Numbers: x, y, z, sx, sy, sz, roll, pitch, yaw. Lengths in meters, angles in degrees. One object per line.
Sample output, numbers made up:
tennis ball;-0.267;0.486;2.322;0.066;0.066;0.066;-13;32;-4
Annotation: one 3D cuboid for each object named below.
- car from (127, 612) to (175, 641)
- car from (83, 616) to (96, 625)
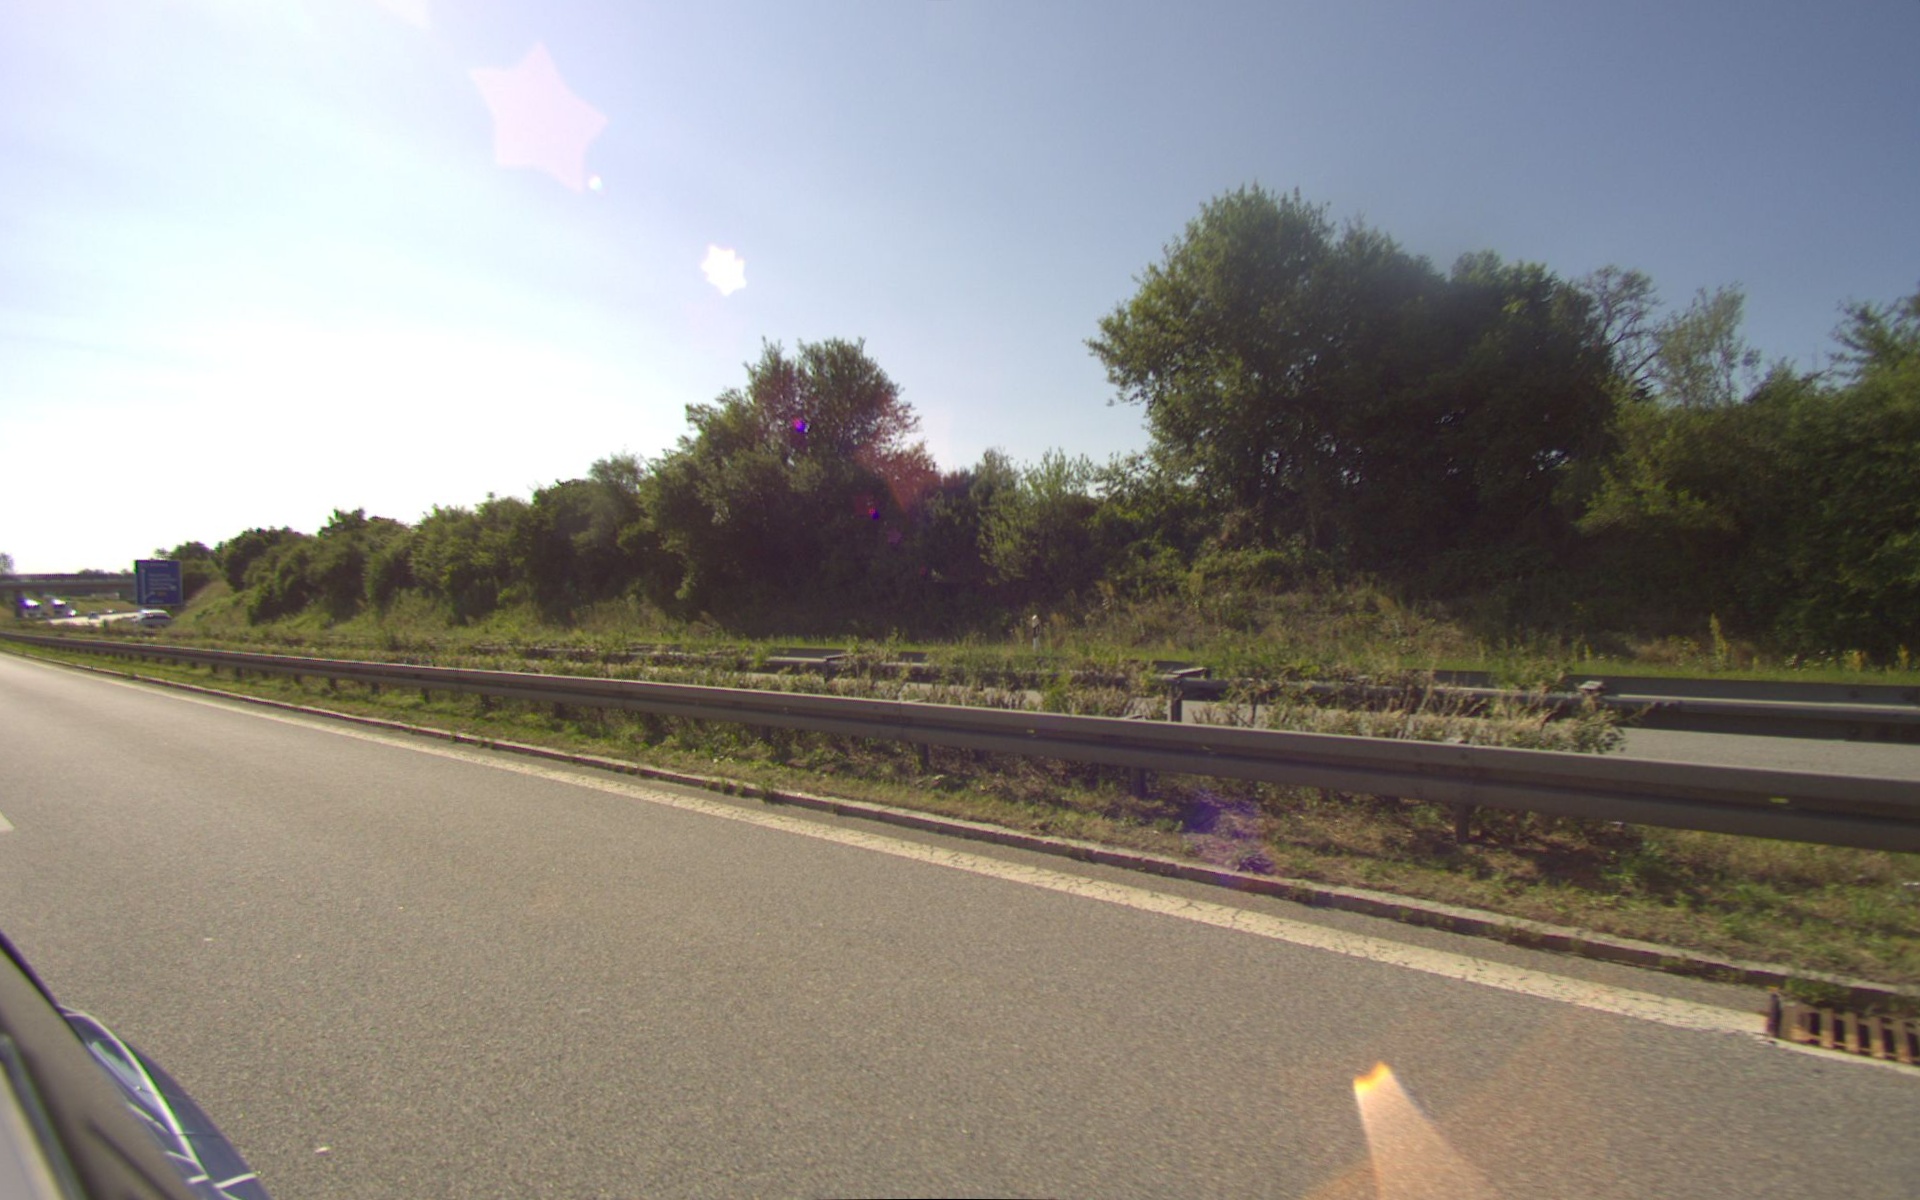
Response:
car;-57.660;1.864;72.083;4.855;2.029;1.972;-1;-1;43
car;-175.275;4.130;203.779;1.834;1.610;4.004;0;-1;-43
